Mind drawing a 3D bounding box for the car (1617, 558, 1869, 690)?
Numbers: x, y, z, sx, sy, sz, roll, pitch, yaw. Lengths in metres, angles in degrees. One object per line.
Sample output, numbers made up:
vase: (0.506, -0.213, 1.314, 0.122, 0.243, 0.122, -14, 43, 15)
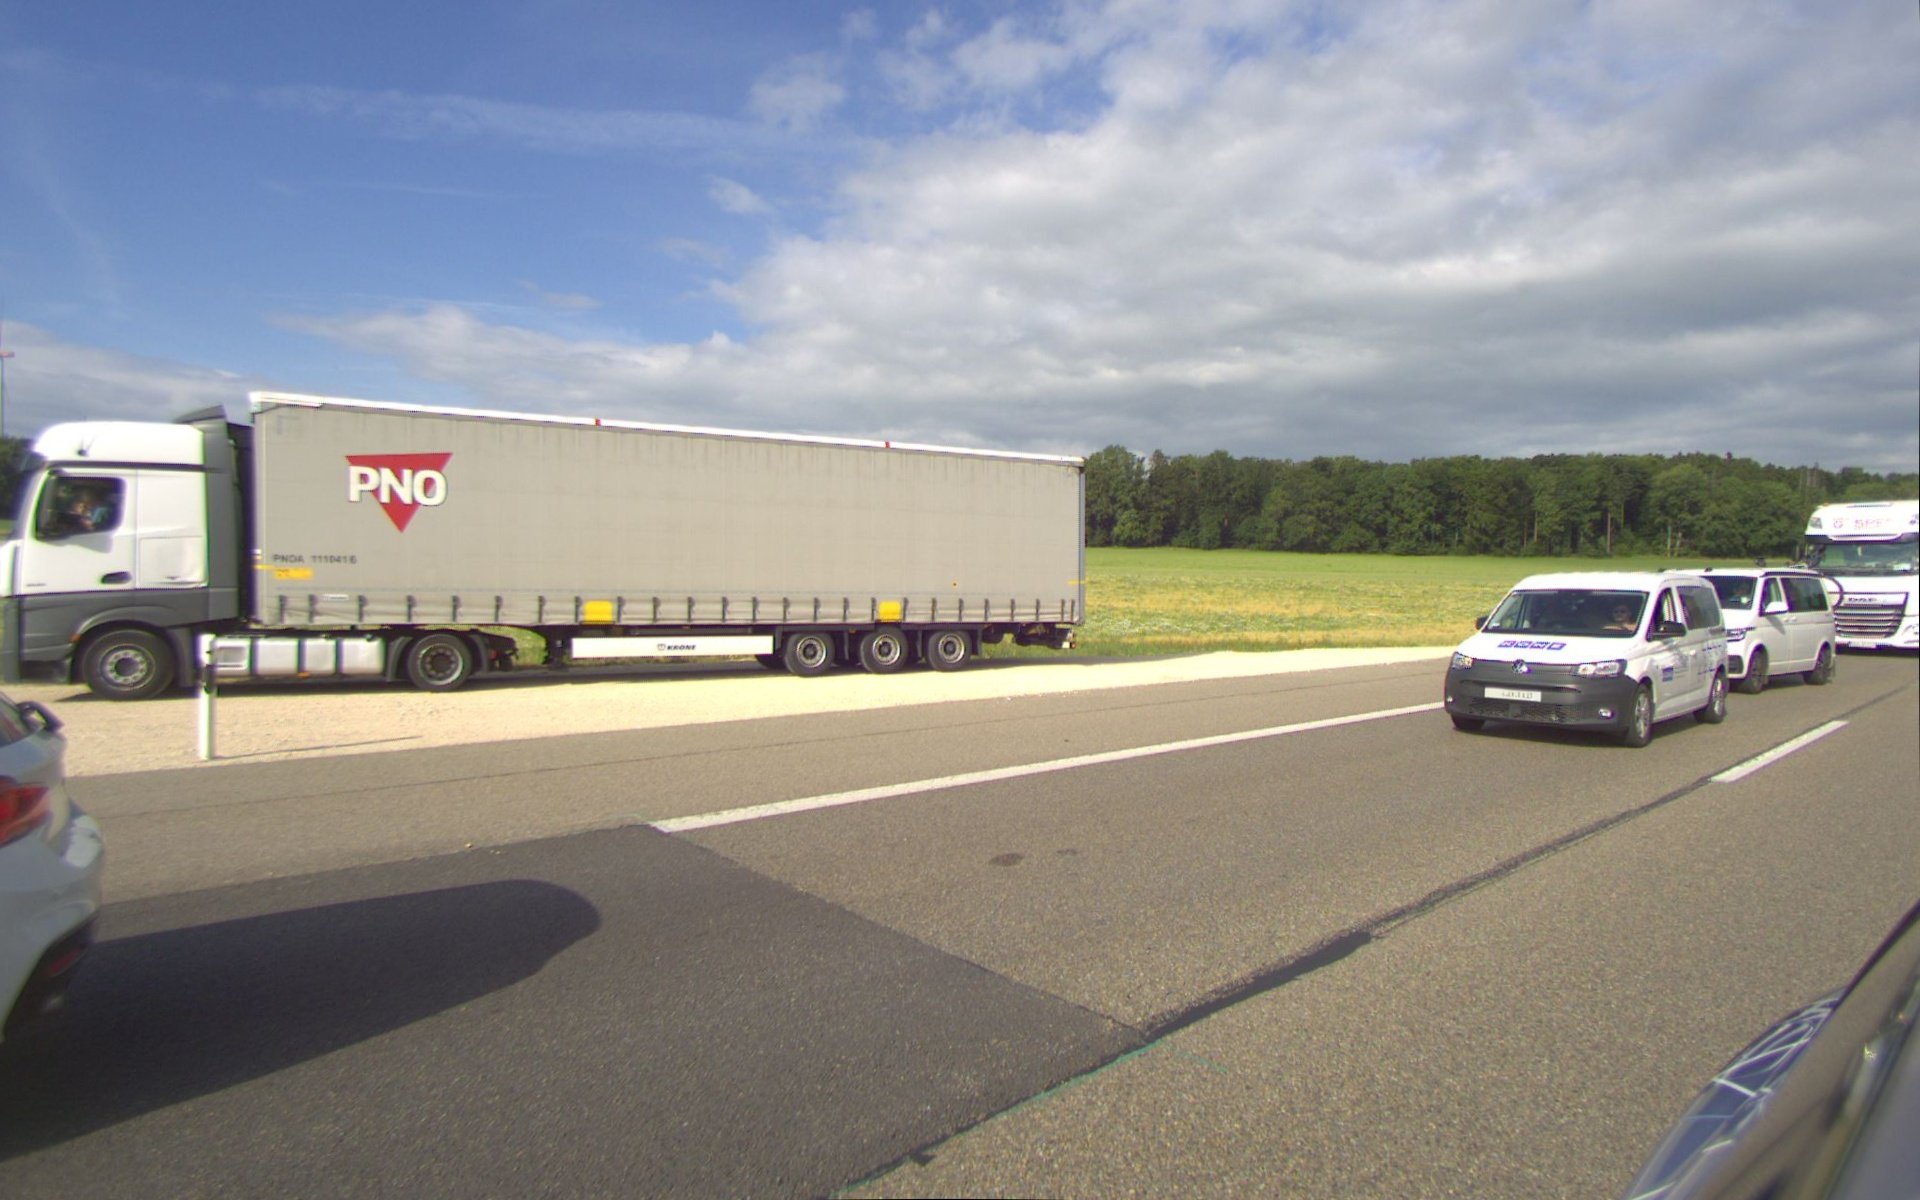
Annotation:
car: (13.318, 0.346, 17.103, 5.165, 1.949, 1.801, 0, 0, -33)

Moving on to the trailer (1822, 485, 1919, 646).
trailer: (29.876, -1.009, 31.530, 13.778, 4.212, 2.739, -1, 1, -42)

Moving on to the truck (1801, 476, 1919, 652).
truck: (24.692, -0.912, 26.929, 5.667, 4.226, 2.733, -1, 1, -41)

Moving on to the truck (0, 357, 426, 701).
truck: (-10.412, -0.873, 14.606, 4.662, 4.226, 2.726, 0, 0, -26)

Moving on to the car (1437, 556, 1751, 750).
car: (7.291, 0.479, 11.429, 4.620, 1.779, 1.727, 0, 0, -41)

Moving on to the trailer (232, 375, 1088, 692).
trailer: (-4.202, -0.872, 17.712, 13.544, 4.213, 2.748, 0, 0, -27)

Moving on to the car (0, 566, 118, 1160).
car: (-4.301, 0.648, 1.906, 4.158, 1.450, 1.706, 0, 0, -41)
